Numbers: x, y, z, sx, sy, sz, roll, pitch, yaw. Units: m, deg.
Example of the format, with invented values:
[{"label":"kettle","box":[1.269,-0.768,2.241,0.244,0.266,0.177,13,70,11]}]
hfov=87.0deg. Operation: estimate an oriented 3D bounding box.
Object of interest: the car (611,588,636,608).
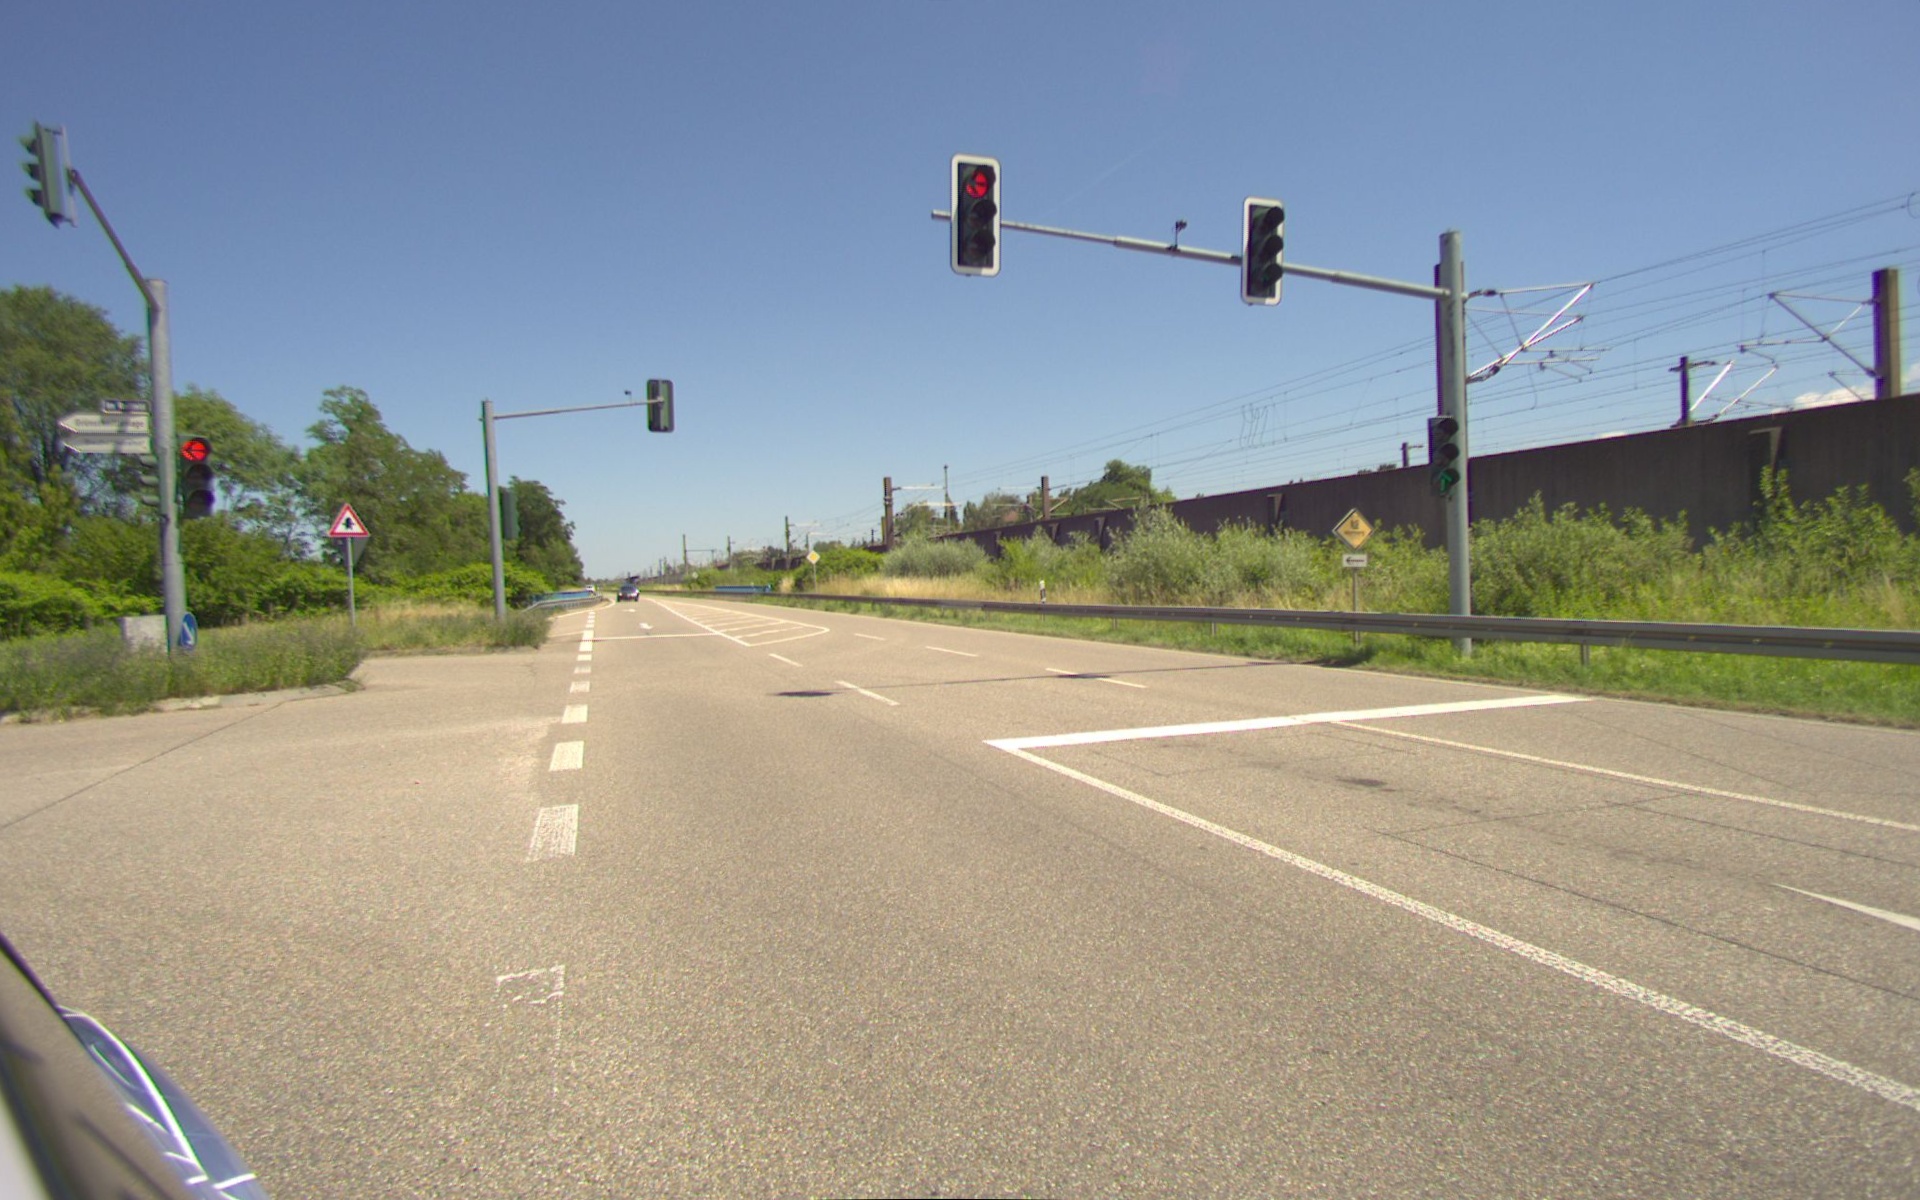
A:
[{"label":"car","box":[-30.579,-0.196,92.031,1.966,1.740,4.012,-2,2,-17]}]
